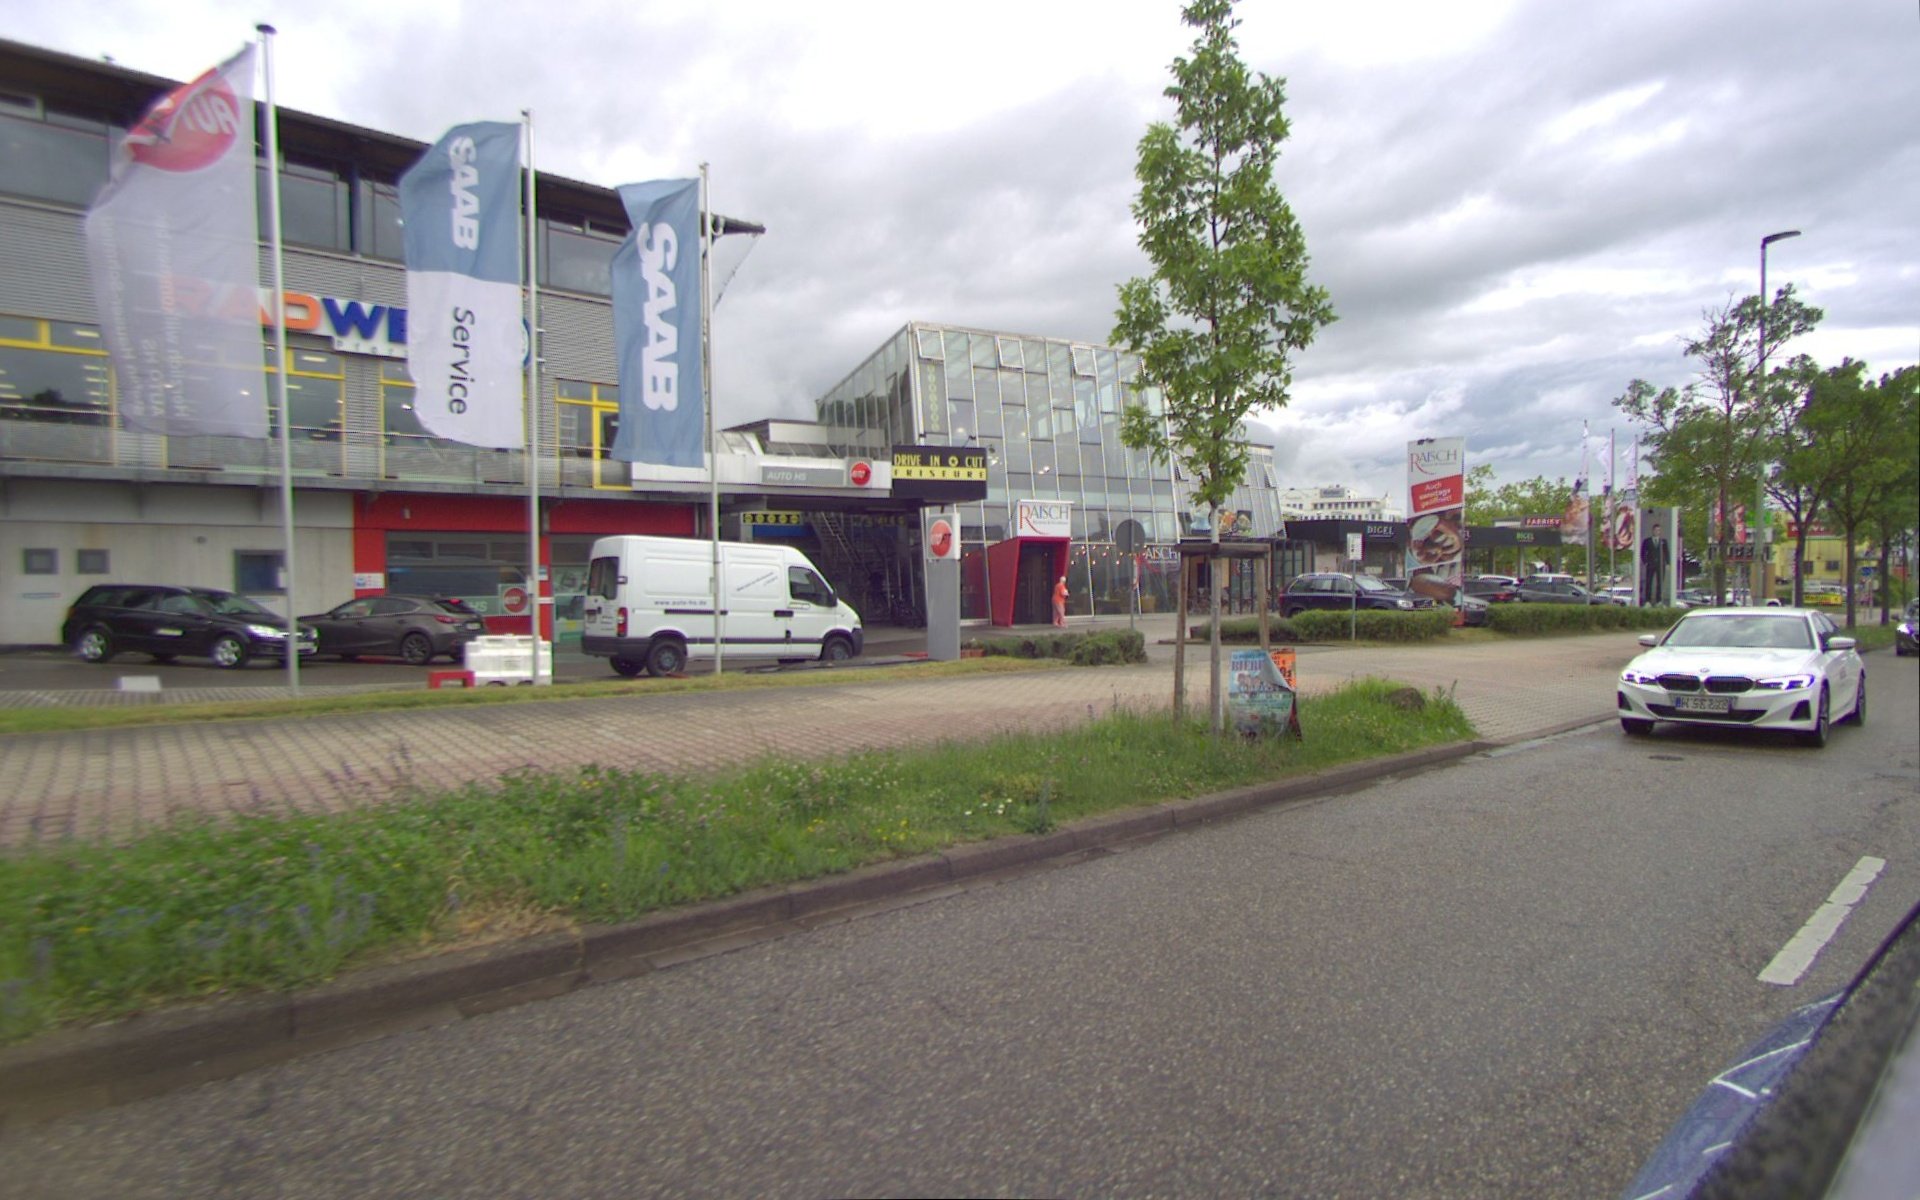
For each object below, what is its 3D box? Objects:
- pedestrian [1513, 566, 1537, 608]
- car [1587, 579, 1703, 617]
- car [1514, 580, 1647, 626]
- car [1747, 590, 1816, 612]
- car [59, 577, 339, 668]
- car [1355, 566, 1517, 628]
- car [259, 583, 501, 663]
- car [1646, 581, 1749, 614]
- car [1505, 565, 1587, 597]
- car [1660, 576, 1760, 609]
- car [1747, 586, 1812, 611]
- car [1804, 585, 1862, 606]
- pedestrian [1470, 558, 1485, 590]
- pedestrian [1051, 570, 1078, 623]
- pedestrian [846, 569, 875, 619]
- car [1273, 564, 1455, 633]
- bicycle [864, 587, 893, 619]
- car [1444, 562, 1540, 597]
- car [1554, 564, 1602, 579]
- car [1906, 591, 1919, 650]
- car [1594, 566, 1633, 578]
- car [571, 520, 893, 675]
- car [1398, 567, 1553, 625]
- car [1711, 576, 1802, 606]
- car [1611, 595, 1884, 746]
[{"bbox_3d":[24.263,-0.560,43.452,0.837,1.812,0.632,0,-1,-43],"label":"pedestrian"},{"bbox_3d":[32.820,-0.133,48.612,4.120,1.490,1.784,3,3,13],"label":"car"},{"bbox_3d":[25.173,0.079,41.155,1.830,1.490,4.178,0,4,-41],"label":"car"},{"bbox_3d":[62.532,0.032,77.044,3.987,1.528,1.717,0,3,44],"label":"car"},{"bbox_3d":[-14.394,0.408,19.260,4.186,1.489,1.736,2,-1,6],"label":"car"},{"bbox_3d":[14.862,-0.137,31.770,1.794,1.620,4.183,0,4,-37],"label":"car"},{"bbox_3d":[-12.288,0.474,21.590,4.184,1.489,1.781,2,-1,4],"label":"car"},{"bbox_3d":[38.565,-0.152,53.000,3.949,1.454,1.741,3,3,6],"label":"car"},{"bbox_3d":[37.548,-1.245,64.949,4.043,1.766,1.799,3,4,5],"label":"car"},{"bbox_3d":[42.665,-0.434,57.689,4.112,1.598,1.739,3,3,11],"label":"car"},{"bbox_3d":[56.696,-0.111,70.089,1.715,1.599,3.865,2,0,9],"label":"car"},{"bbox_3d":[82.323,-0.419,95.538,3.979,1.834,1.744,2,2,38],"label":"car"},{"bbox_3d":[33.506,-1.657,65.543,0.646,2.039,0.612,-1,-1,-41],"label":"pedestrian"},{"bbox_3d":[3.553,-0.127,34.313,0.735,1.781,0.686,-1,1,-9],"label":"pedestrian"},{"bbox_3d":[-3.599,-0.227,36.557,0.795,1.799,0.863,-1,1,-22],"label":"pedestrian"},{"bbox_3d":[11.573,-0.100,29.358,1.888,1.620,4.679,1,4,-30],"label":"car"},{"bbox_3d":[-2.975,0.092,36.824,0.490,1.121,1.804,-1,1,-22],"label":"bicycle"},{"bbox_3d":[30.598,-1.183,58.300,4.428,1.701,1.795,3,4,11],"label":"car"},{"bbox_3d":[82.072,-3.787,134.460,1.999,1.820,5.090,0,2,-41],"label":"car"},{"bbox_3d":[27.890,0.530,28.252,4.146,1.601,1.796,0,-1,-42],"label":"car"},{"bbox_3d":[91.426,-3.895,141.528,1.792,1.601,4.219,0,2,-41],"label":"car"},{"bbox_3d":[-4.232,0.052,19.421,5.577,2.570,2.232,2,-2,-39],"label":"car"},{"bbox_3d":[17.093,-0.180,33.710,1.767,1.620,4.183,0,4,-37],"label":"car"},{"bbox_3d":[51.438,-0.594,65.411,4.236,1.598,1.743,3,3,3],"label":"car"},{"bbox_3d":[9.491,0.689,12.057,4.464,1.459,1.806,0,-1,-42],"label":"car"}]
